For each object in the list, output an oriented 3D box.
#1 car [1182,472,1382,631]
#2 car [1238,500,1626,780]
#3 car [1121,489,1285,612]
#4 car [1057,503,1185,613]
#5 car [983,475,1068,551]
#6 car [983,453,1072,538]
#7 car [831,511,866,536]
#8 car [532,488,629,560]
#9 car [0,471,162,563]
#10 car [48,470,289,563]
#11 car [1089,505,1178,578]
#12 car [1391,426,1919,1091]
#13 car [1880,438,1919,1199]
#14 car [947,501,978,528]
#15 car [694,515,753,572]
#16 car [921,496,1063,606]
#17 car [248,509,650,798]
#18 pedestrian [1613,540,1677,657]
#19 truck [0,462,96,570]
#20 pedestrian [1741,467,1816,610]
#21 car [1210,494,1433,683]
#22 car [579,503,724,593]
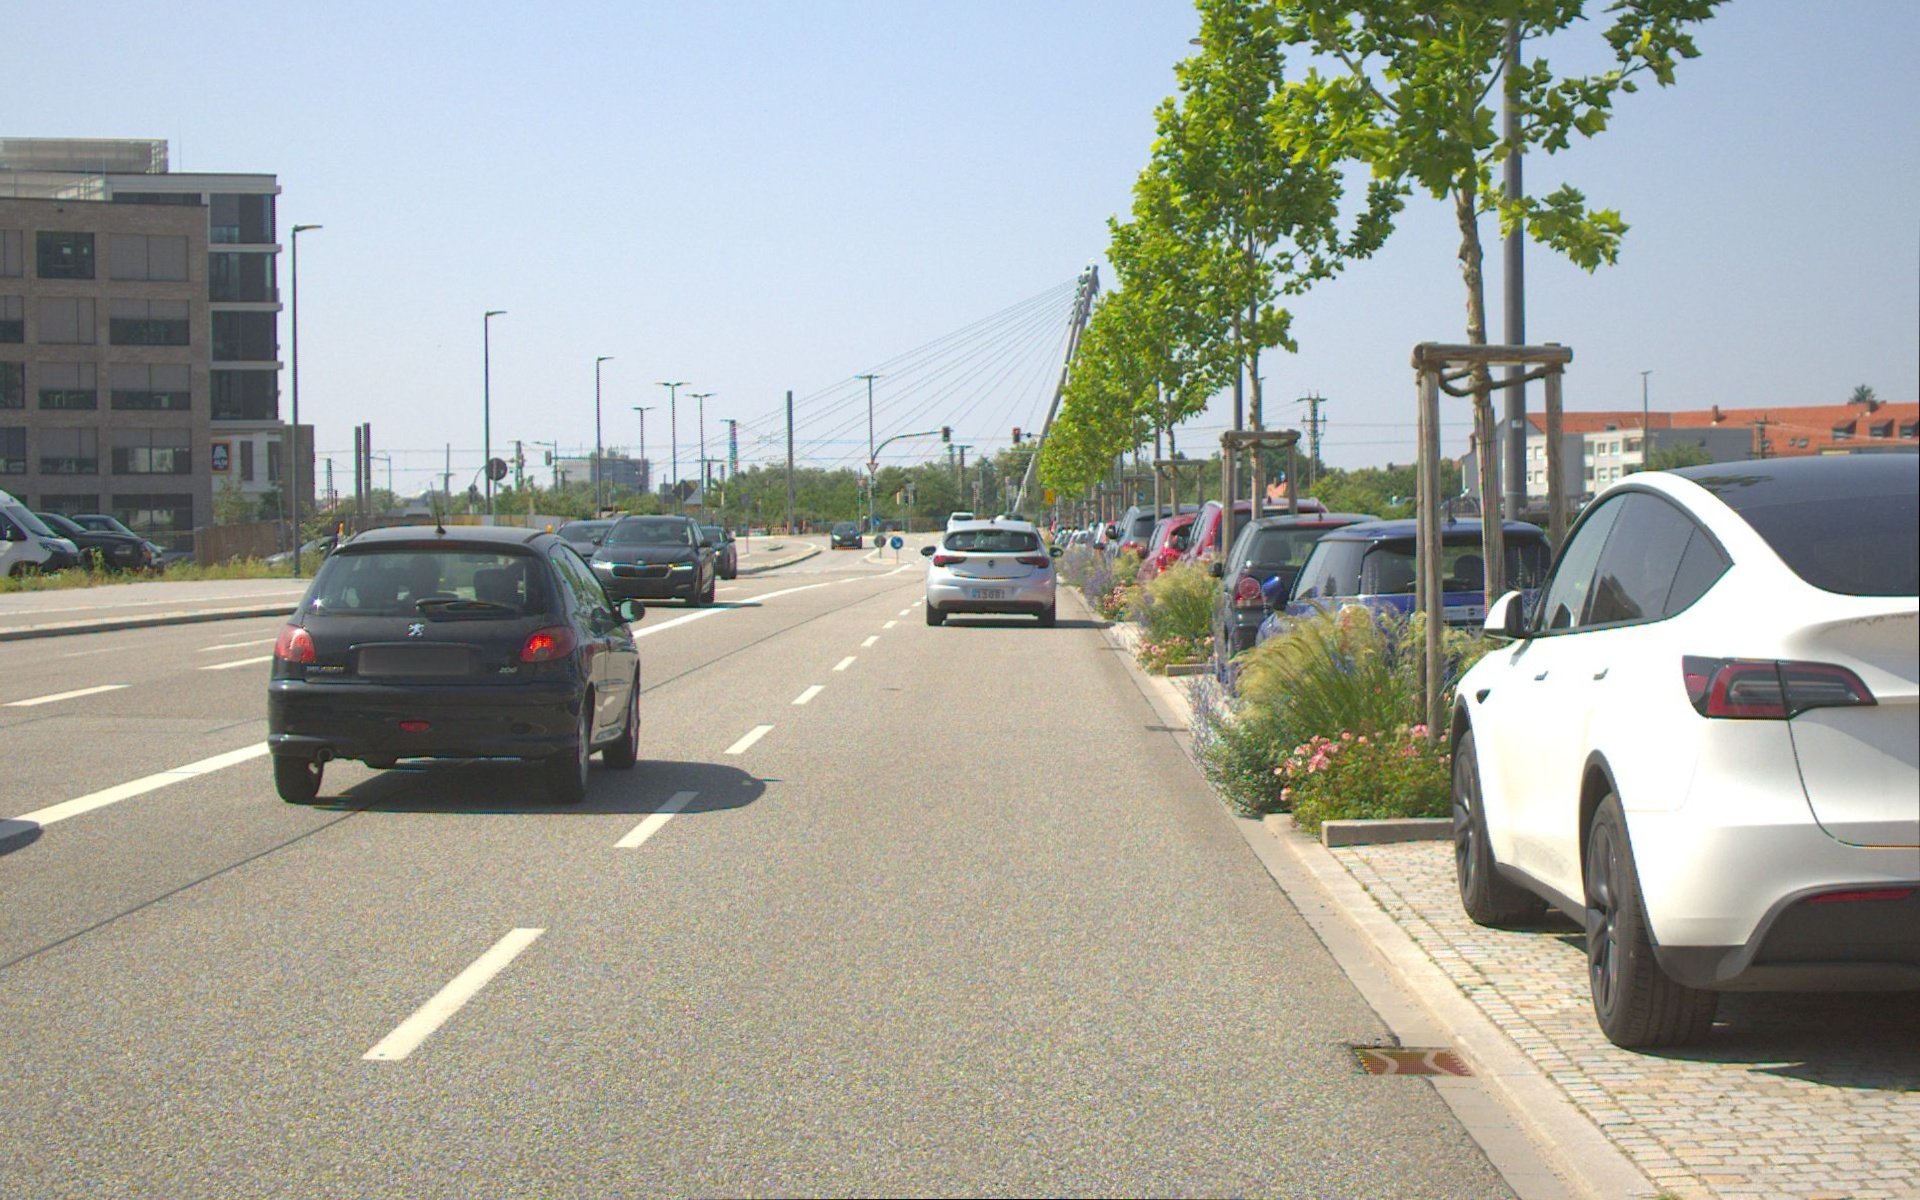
[{"bbox_3d":[3.457,-0.576,37.663,1.908,1.611,4.548,-1,2,2],"label":"car"},{"bbox_3d":[2.741,0.160,20.820,1.908,1.474,4.158,-1,2,2],"label":"car"},{"bbox_3d":[3.157,-0.667,45.257,1.603,1.486,3.819,-2,1,-4],"label":"car"},{"bbox_3d":[2.488,-0.689,54.019,1.734,1.603,4.241,-2,1,0],"label":"car"},{"bbox_3d":[1.482,-1.929,76.751,1.778,1.563,4.000,1,0,3],"label":"car"},{"bbox_3d":[1.501,-2.332,77.642,1.793,1.744,4.000,1,0,-2],"label":"car"},{"bbox_3d":[-6.212,-4.263,191.635,1.704,1.347,4.456,-1,1,1],"label":"car"},{"bbox_3d":[-8.022,-1.588,72.910,1.793,1.411,4.000,1,0,-3],"label":"car"},{"bbox_3d":[-22.558,-2.012,83.302,5.882,2.158,2.396,-1,2,-1],"label":"car"},{"bbox_3d":[-19.546,-2.063,85.106,5.442,2.165,2.396,-1,1,-2],"label":"car"},{"bbox_3d":[3.663,-1.266,73.197,1.717,1.446,4.000,1,2,1],"label":"car"},{"bbox_3d":[2.613,0.328,10.879,1.872,1.621,4.877,-1,1,0],"label":"car"},{"bbox_3d":[2.722,0.519,4.509,1.993,1.514,4.000,1,2,1],"label":"car"},{"bbox_3d":[0.151,-5.284,212.269,1.854,1.644,4.000,1,1,1],"label":"car"},{"bbox_3d":[-6.742,-1.608,98.398,1.579,1.557,3.674,1,0,-3],"label":"car"},{"bbox_3d":[0.489,-0.701,48.018,1.778,1.437,4.000,1,1,3],"label":"car"},{"bbox_3d":[-2.723,0.228,19.041,1.619,1.411,3.727,1,1,0],"label":"car"},{"bbox_3d":[10.163,-0.031,51.050,0.780,1.699,0.742,1,1,2],"label":"pedestrian"},{"bbox_3d":[-22.384,-1.852,76.821,5.566,2.354,2.275,-1,1,0],"label":"truck"},{"bbox_3d":[9.886,-0.734,41.545,0.732,1.699,0.651,1,0,2],"label":"pedestrian"},{"bbox_3d":[3.023,-0.150,29.333,1.620,1.474,3.824,-1,2,2],"label":"car"},{"bbox_3d":[-5.058,-0.873,56.825,1.787,1.393,4.571,1,1,2],"label":"car"}]
